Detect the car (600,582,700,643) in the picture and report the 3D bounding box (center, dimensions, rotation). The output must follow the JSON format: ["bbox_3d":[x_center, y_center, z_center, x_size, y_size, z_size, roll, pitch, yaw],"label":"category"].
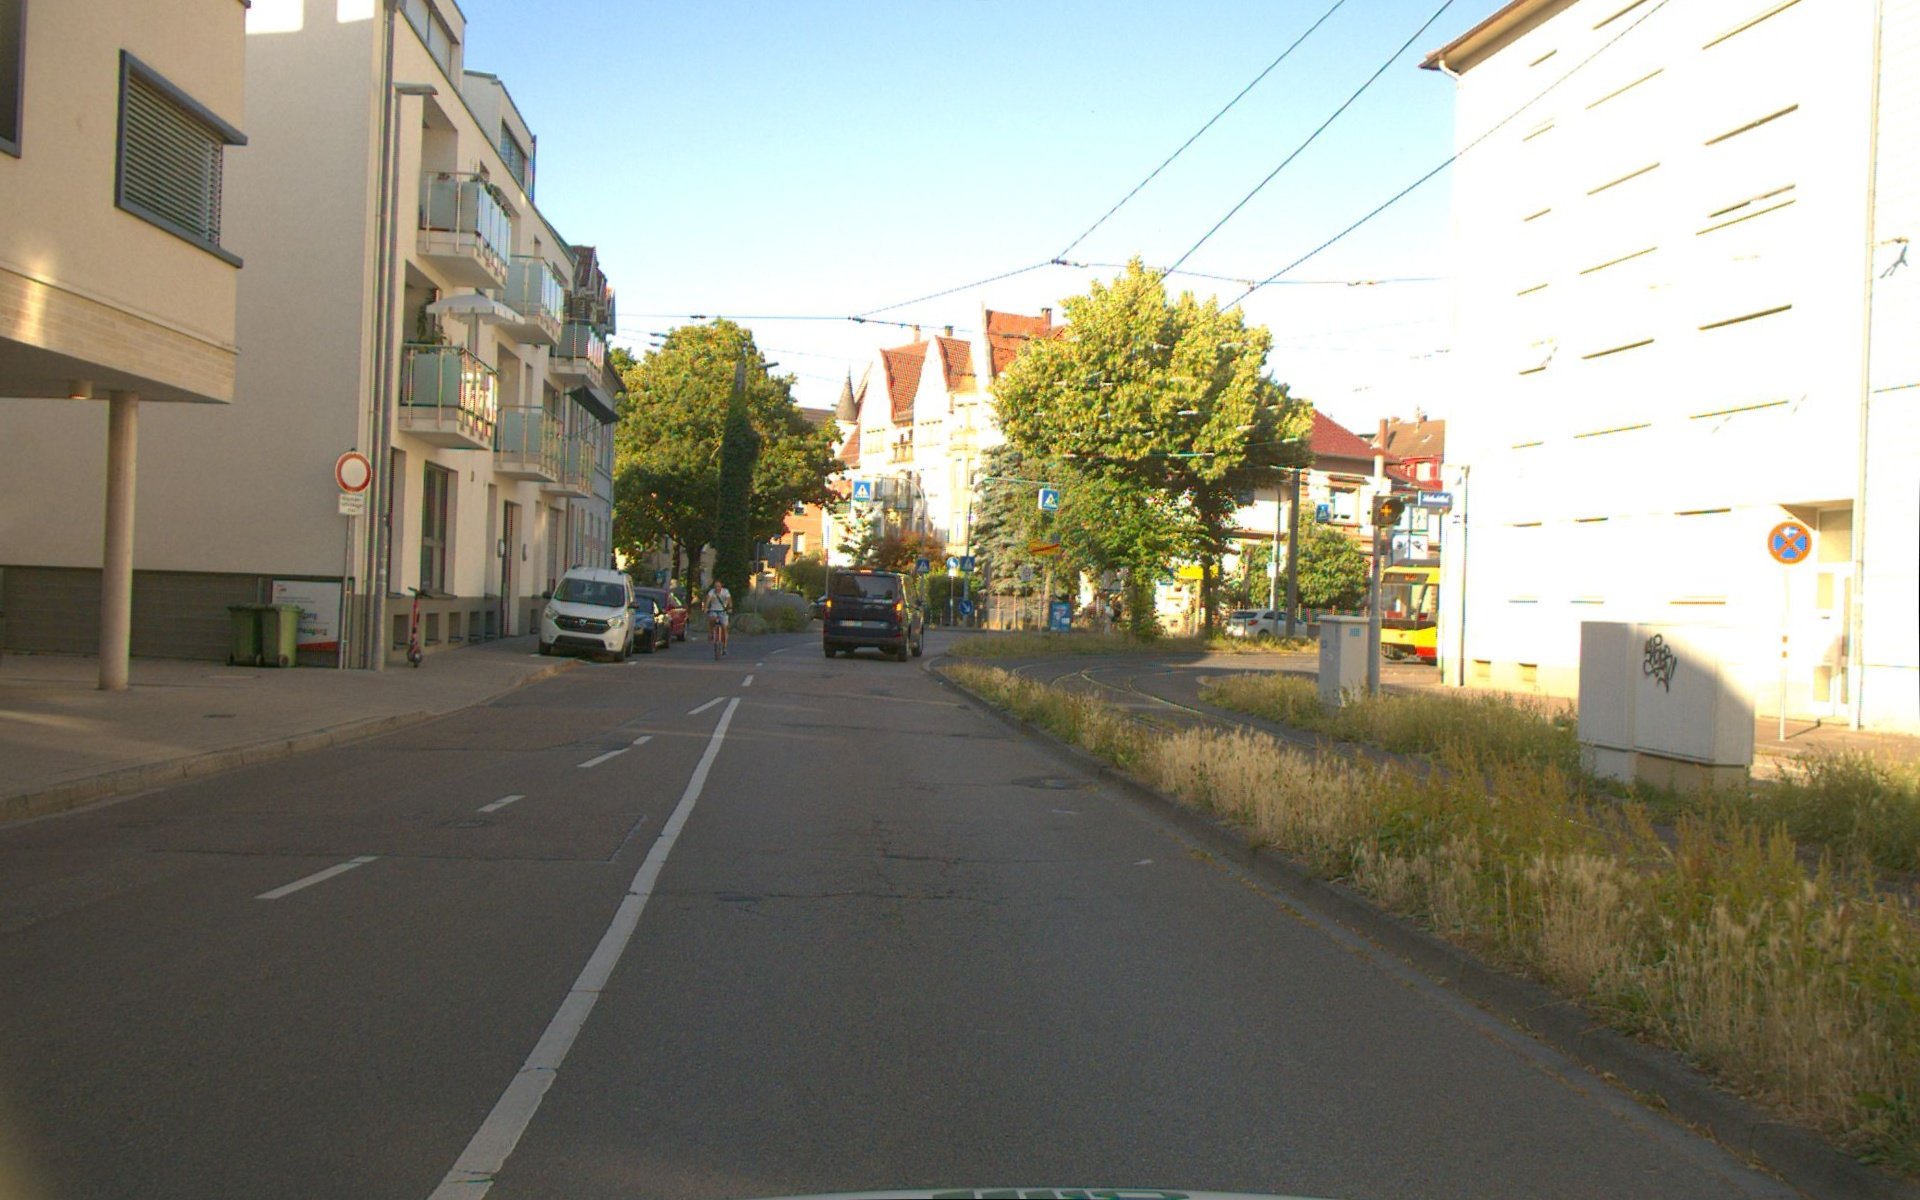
[{"bbox_3d":[-8.453,0.303,45.445,1.674,1.491,4.593,3,1,2],"label":"car"}]

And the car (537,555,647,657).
[{"bbox_3d":[-7.577,0.124,34.413,1.777,1.902,4.324,3,-1,-8],"label":"car"}]

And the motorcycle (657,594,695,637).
[{"bbox_3d":[-9.384,0.494,54.636,0.916,1.381,2.553,2,0,-16],"label":"motorcycle"}]

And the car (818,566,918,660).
[{"bbox_3d":[-2.117,0.270,39.135,1.952,2.049,4.001,2,0,2],"label":"car"}]

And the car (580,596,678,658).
[{"bbox_3d":[-7.824,0.625,39.412,1.631,1.295,4.023,3,-1,-3],"label":"car"}]

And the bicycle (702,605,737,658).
[{"bbox_3d":[-5.108,0.650,35.183,0.610,1.100,1.782,1,0,-5],"label":"bicycle"}]

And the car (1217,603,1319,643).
[{"bbox_3d":[12.075,0.883,64.879,3.639,1.531,1.943,0,0,-33],"label":"car"}]

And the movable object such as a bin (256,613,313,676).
[{"bbox_3d":[-10.105,0.666,24.755,0.536,0.917,0.530,2,-1,17],"label":"movable object such as a bin"}]

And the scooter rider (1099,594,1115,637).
[{"bbox_3d":[5.900,0.611,66.486,0.593,1.702,0.655,1,0,1],"label":"scooter rider"}]

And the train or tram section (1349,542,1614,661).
[{"bbox_3d":[17.246,0.114,54.319,9.797,3.617,2.753,1,0,-34],"label":"train or tram section"}]

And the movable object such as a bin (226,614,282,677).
[{"bbox_3d":[-10.635,0.685,24.928,0.536,0.917,0.530,2,-1,17],"label":"movable object such as a bin"}]

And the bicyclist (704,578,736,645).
[{"bbox_3d":[-5.110,0.238,35.279,0.610,1.404,0.800,1,0,-5],"label":"bicyclist"}]

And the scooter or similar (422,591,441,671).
[{"bbox_3d":[-8.591,0.491,26.861,0.221,1.241,1.148,2,1,-19],"label":"scooter or similar"}]

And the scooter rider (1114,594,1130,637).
[{"bbox_3d":[6.507,0.626,66.484,0.593,1.702,0.655,1,0,1],"label":"scooter rider"}]
